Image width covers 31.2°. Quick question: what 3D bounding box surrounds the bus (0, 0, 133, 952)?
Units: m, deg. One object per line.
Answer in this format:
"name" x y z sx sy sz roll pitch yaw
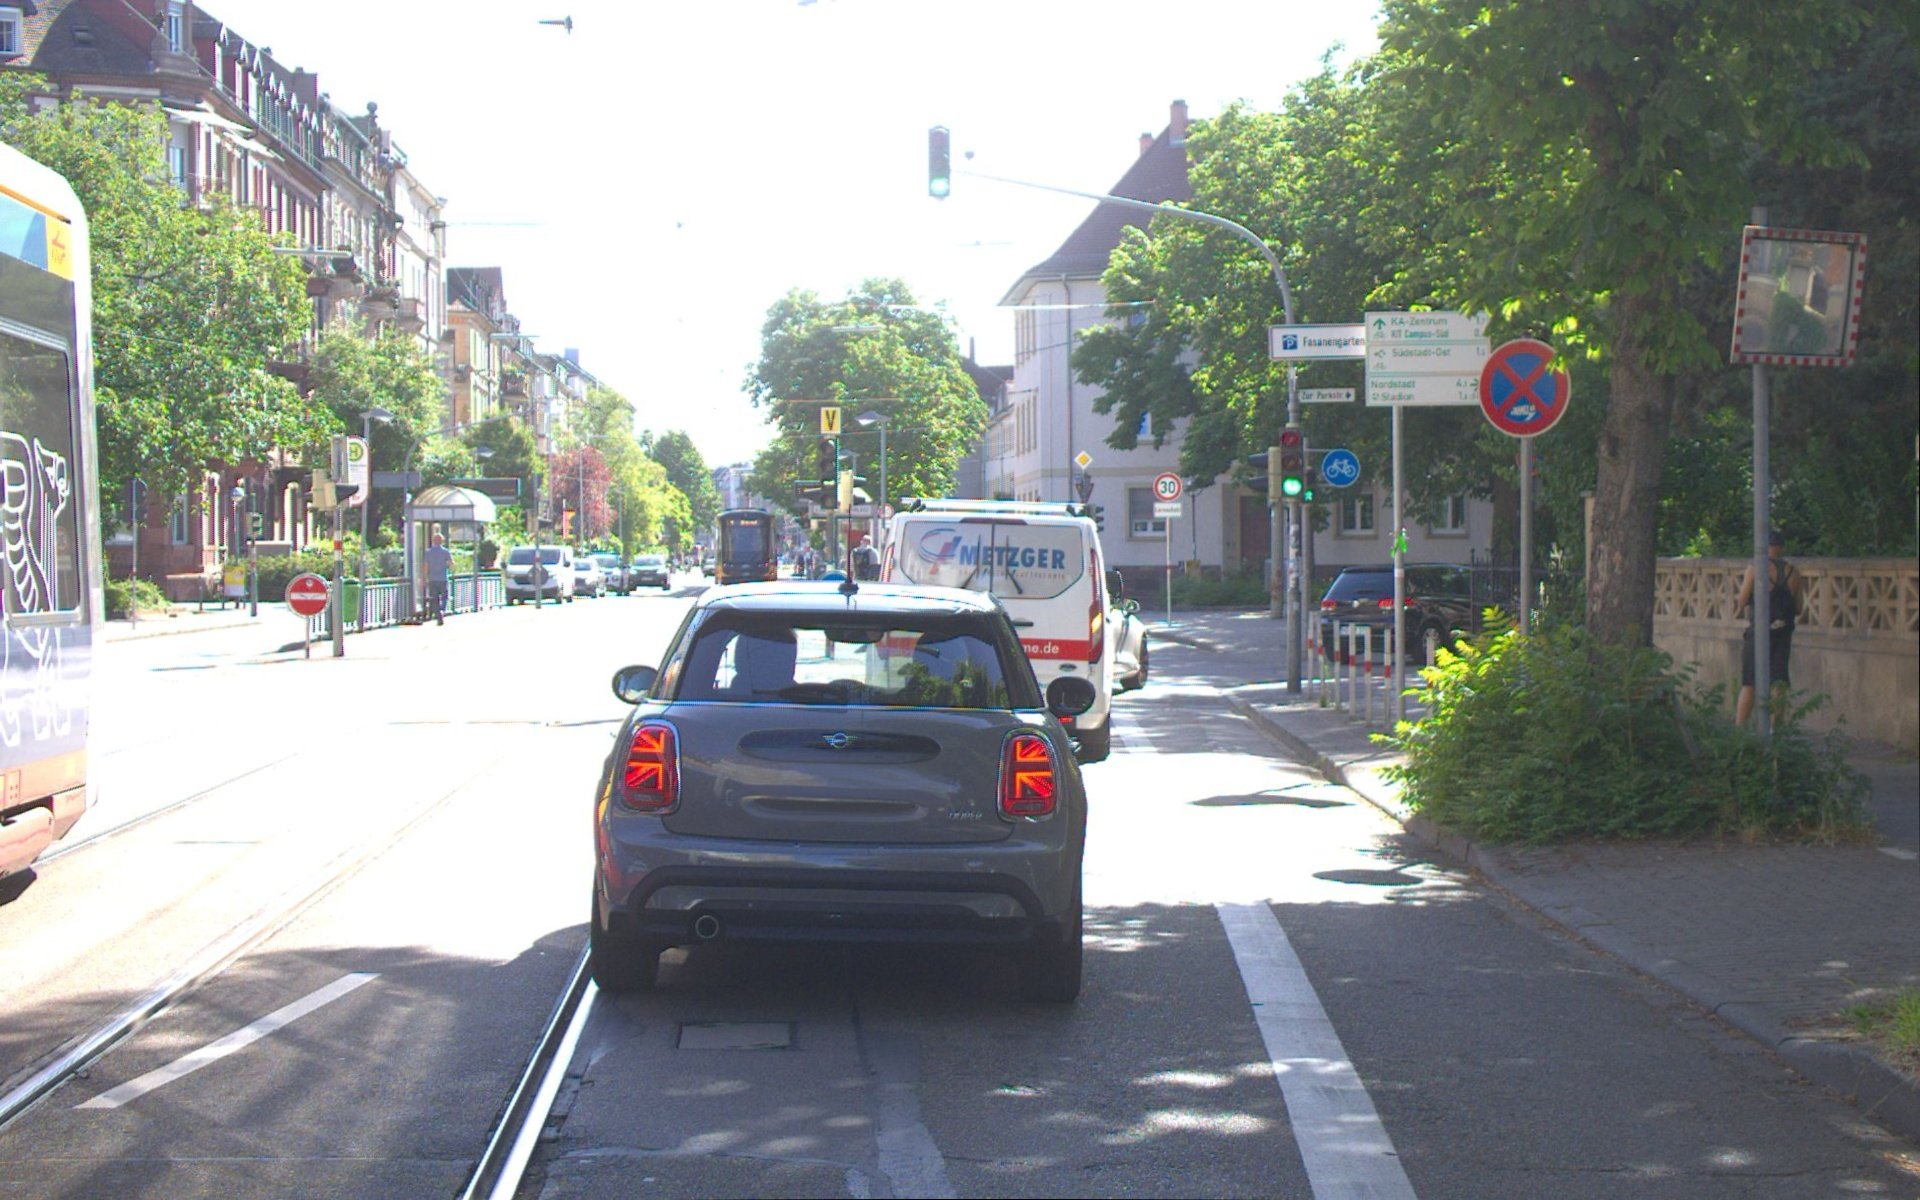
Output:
"bus" -5.004 -0.490 10.067 2.849 3.764 12.199 1 0 -3

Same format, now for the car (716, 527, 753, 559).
"car" -11.681 -2.948 177.832 1.863 1.558 4.001 1 0 -4

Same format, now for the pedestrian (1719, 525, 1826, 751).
"pedestrian" 6.116 0.283 25.903 0.592 1.665 0.647 -2 0 -1

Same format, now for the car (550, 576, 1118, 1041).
"car" -0.442 0.667 13.117 1.815 1.483 4.000 1 0 -1

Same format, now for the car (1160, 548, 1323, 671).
"car" 4.085 0.126 50.418 1.993 1.700 4.000 1 0 -1

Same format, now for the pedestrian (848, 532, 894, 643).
"pedestrian" -1.628 -0.231 62.743 0.795 2.007 0.740 1 0 -2

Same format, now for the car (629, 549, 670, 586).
"car" -14.201 -1.475 157.167 1.775 1.612 4.001 1 0 -4

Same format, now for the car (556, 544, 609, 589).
"car" -13.798 -1.208 125.704 1.775 1.612 4.001 1 0 -4

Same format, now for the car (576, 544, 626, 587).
"car" -13.897 -1.317 133.182 1.775 1.612 4.001 1 0 -4

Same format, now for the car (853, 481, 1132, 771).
"car" 0.207 0.193 28.906 2.118 2.201 4.945 1 0 -1

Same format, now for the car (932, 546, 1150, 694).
"car" 1.002 0.214 40.100 1.994 1.612 3.998 1 0 9

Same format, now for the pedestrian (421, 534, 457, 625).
"pedestrian" -10.309 -0.416 67.995 0.577 1.789 0.608 -1 1 -19

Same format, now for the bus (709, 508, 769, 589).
"bus" -9.826 -2.234 152.347 2.385 3.484 7.385 1 0 -5

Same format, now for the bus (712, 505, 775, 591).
"bus" -9.151 -2.160 144.948 2.385 3.484 7.385 1 0 -5

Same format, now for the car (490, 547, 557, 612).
"car" -14.052 -0.661 110.541 1.993 2.007 5.030 1 0 -9
